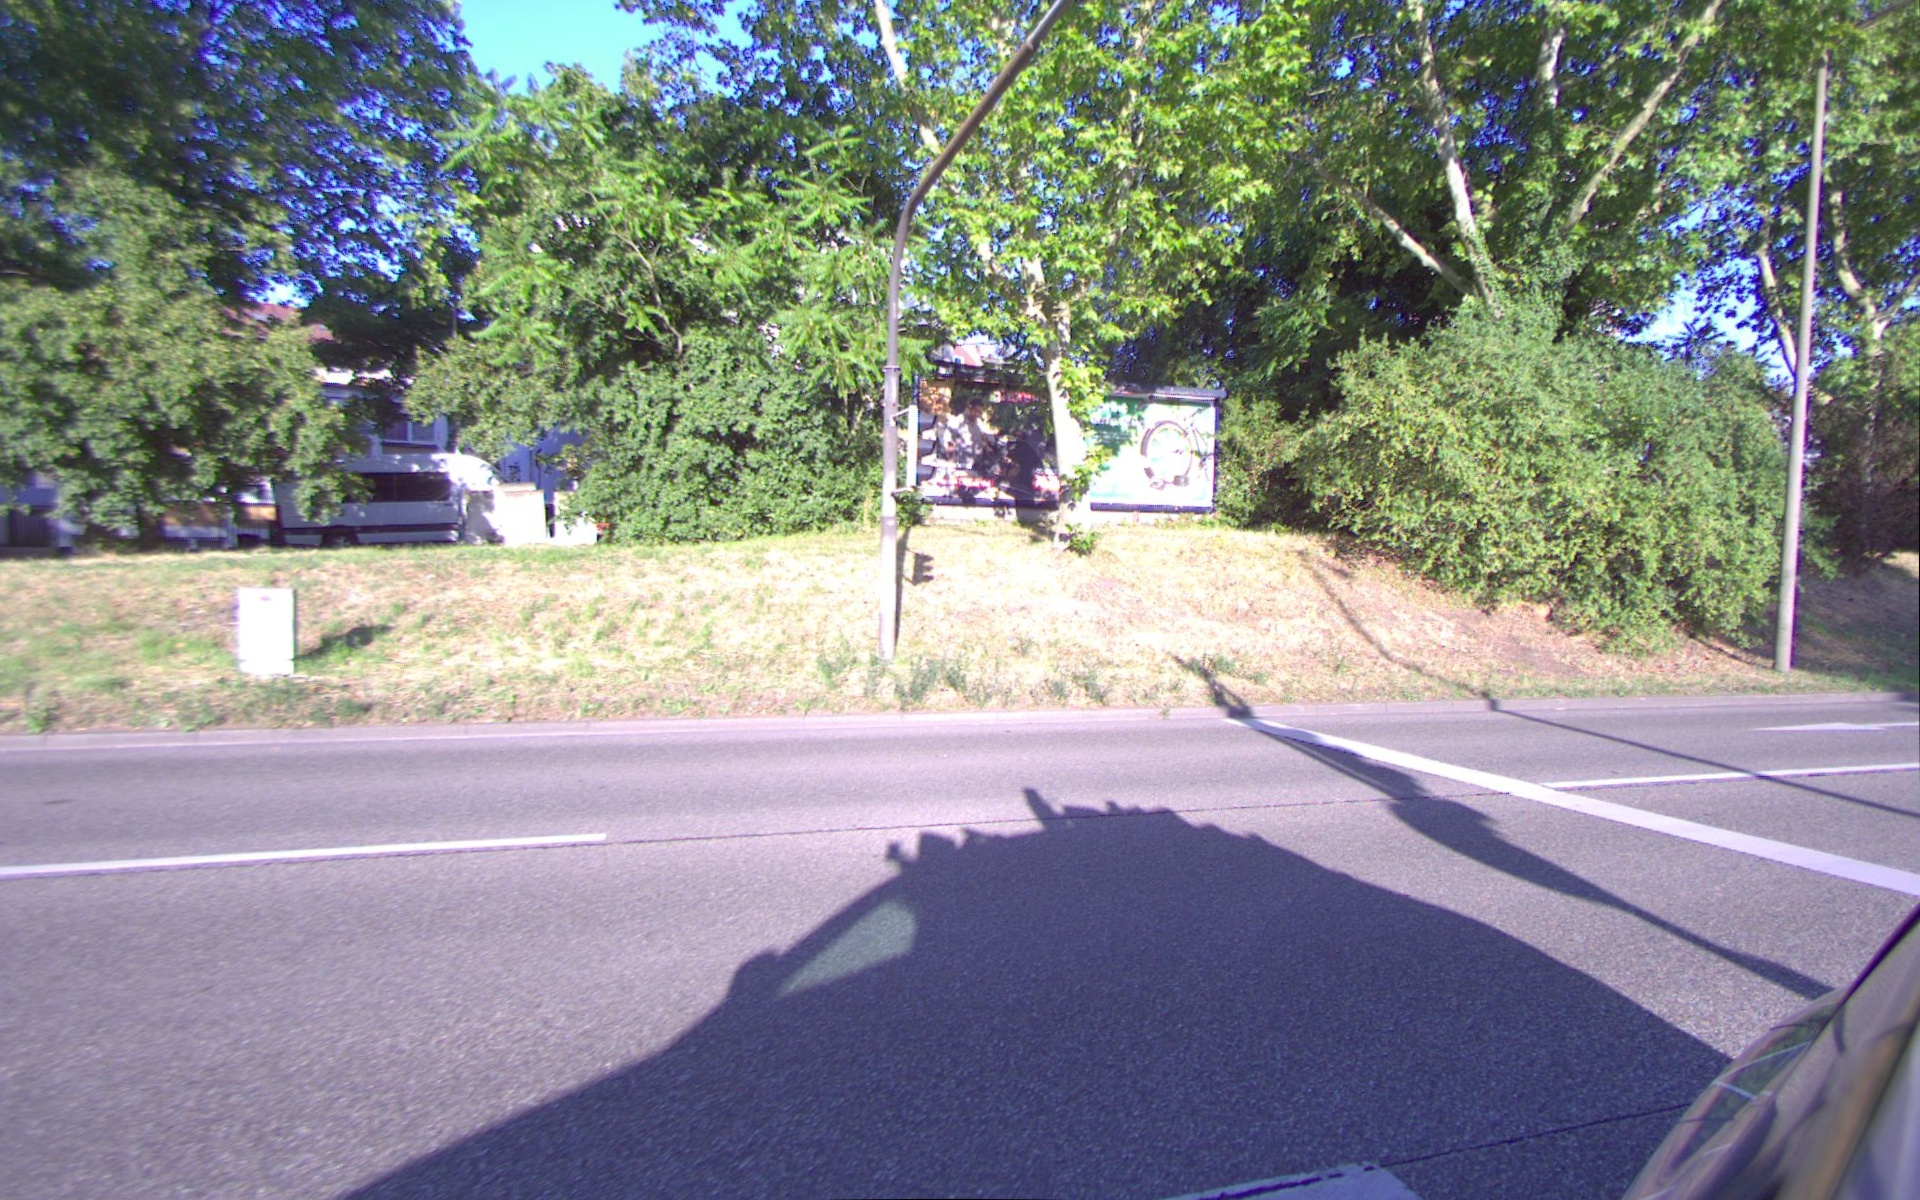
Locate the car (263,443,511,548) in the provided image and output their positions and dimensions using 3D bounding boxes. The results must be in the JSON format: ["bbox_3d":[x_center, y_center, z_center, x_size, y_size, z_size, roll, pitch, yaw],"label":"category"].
[{"bbox_3d":[-15.194,-2.724,27.174,5.510,2.544,1.811,0,1,-13],"label":"car"}]
